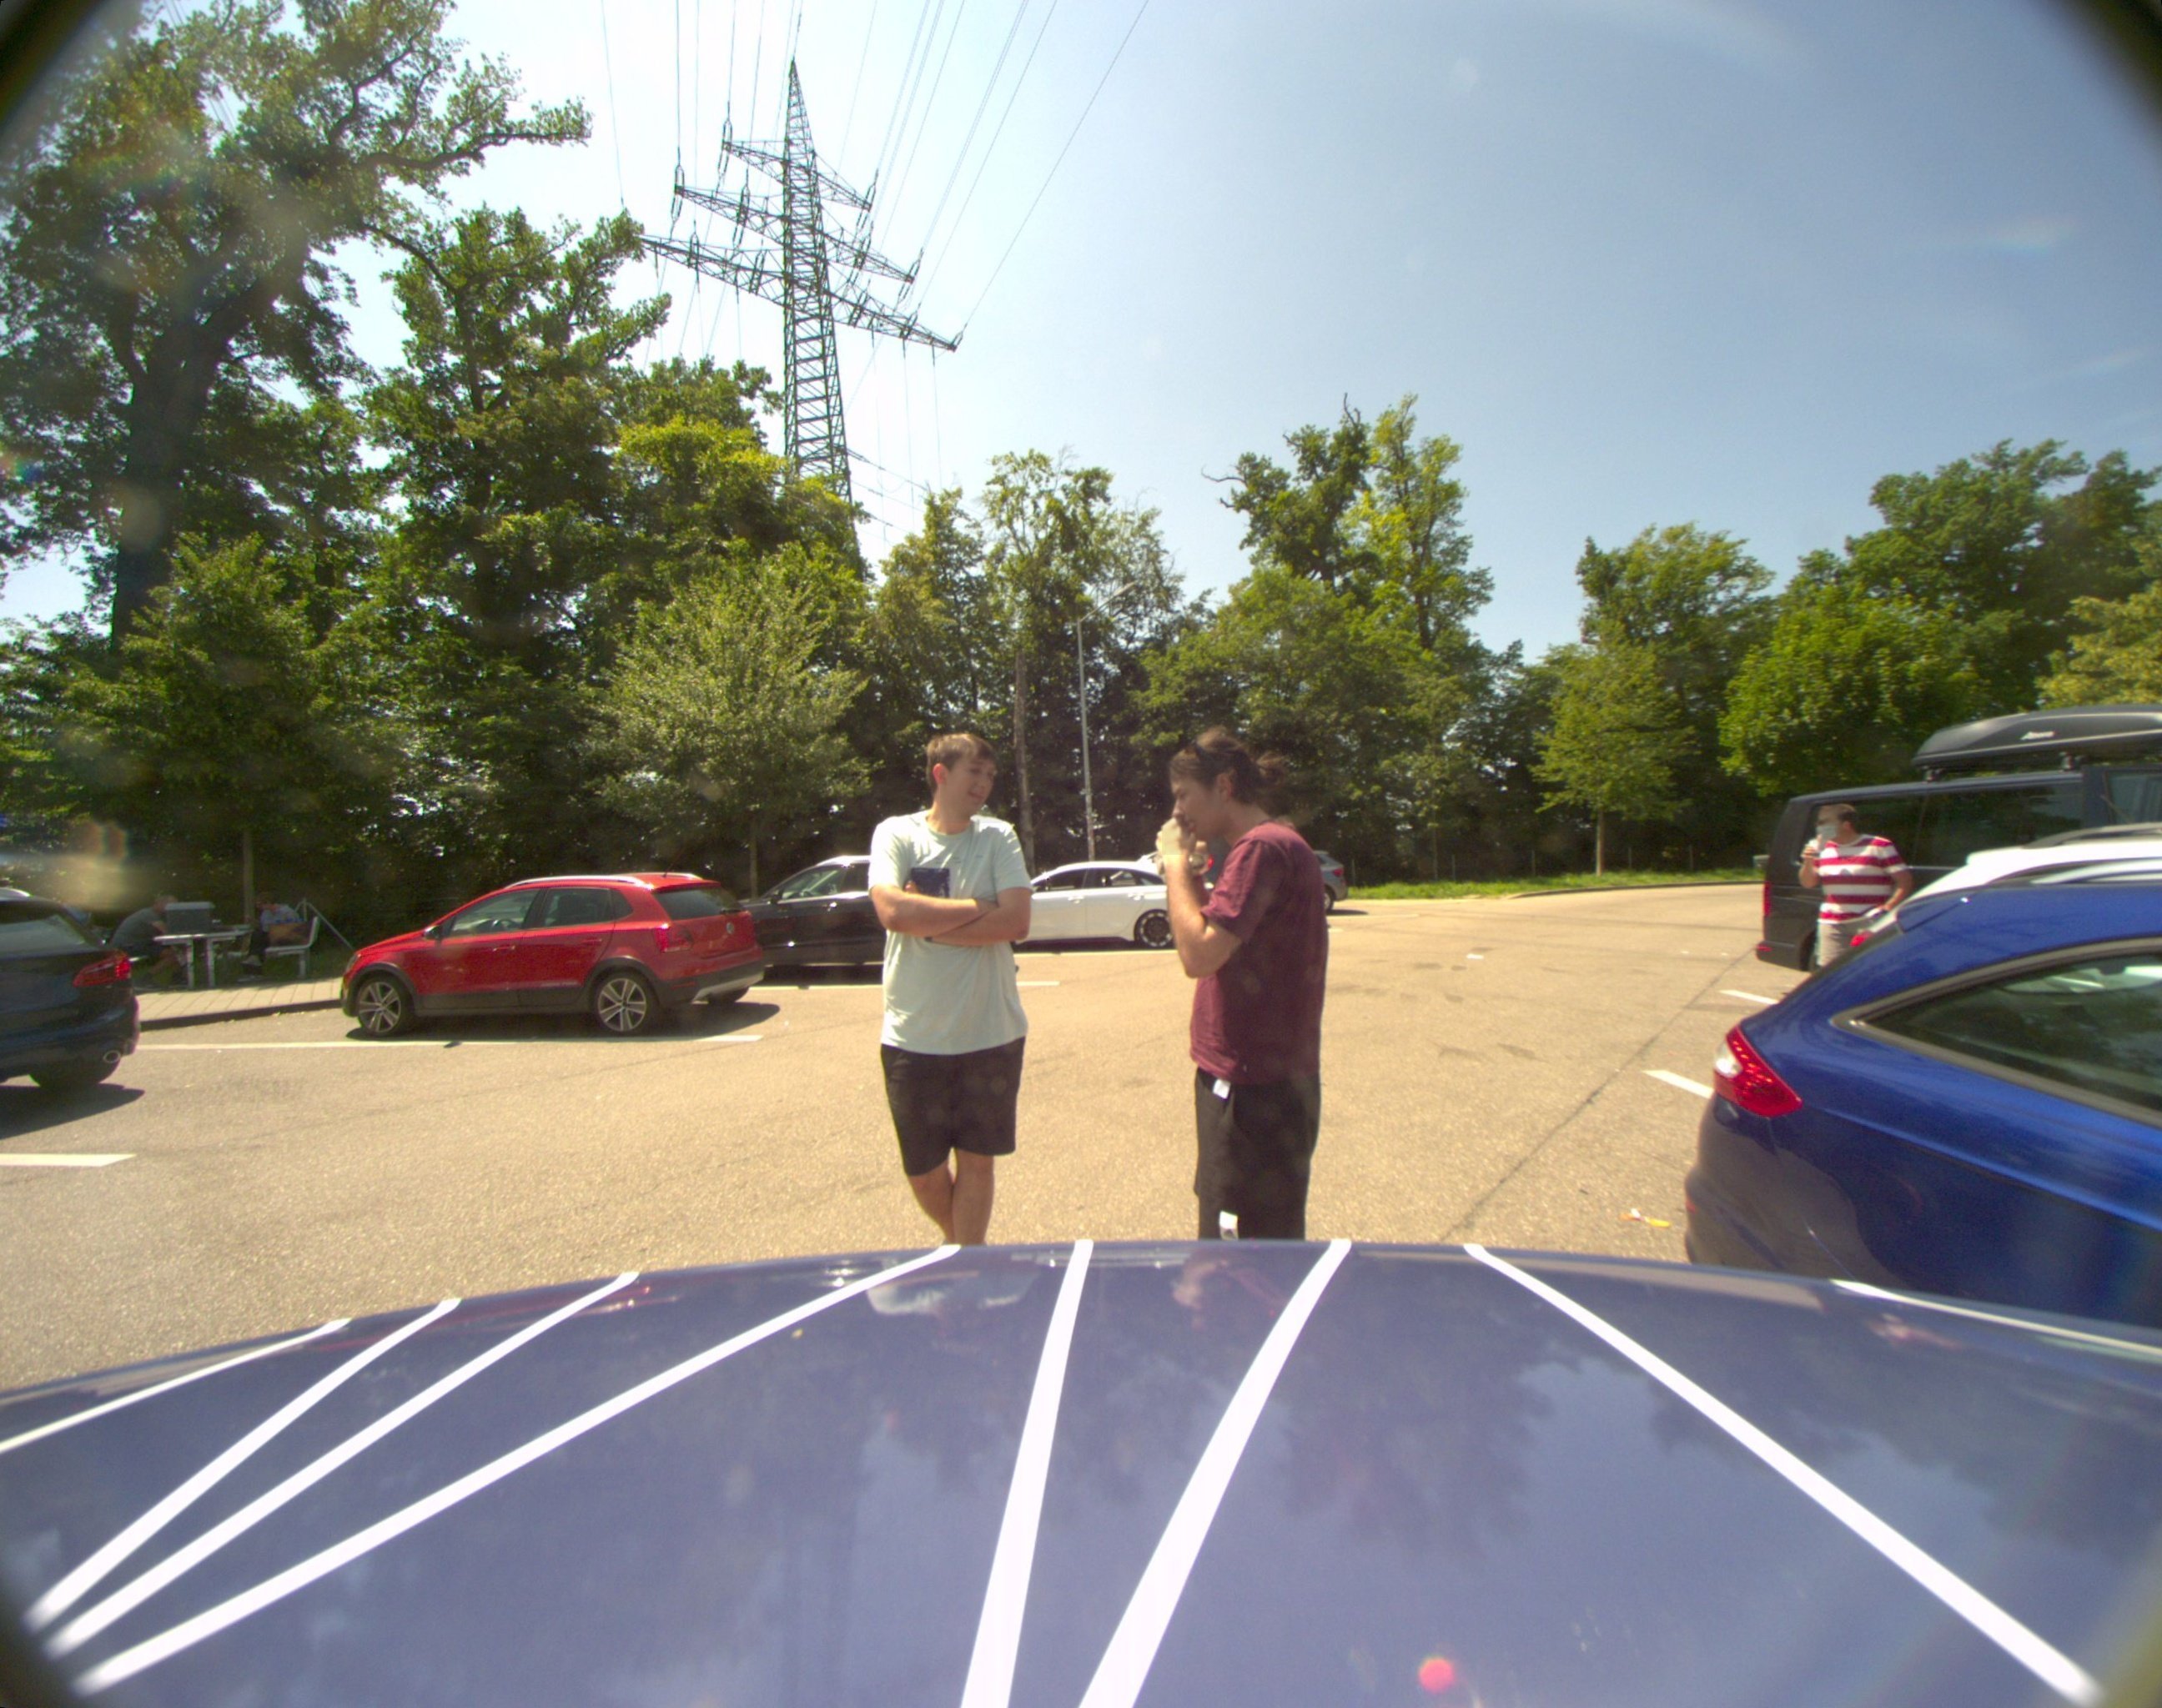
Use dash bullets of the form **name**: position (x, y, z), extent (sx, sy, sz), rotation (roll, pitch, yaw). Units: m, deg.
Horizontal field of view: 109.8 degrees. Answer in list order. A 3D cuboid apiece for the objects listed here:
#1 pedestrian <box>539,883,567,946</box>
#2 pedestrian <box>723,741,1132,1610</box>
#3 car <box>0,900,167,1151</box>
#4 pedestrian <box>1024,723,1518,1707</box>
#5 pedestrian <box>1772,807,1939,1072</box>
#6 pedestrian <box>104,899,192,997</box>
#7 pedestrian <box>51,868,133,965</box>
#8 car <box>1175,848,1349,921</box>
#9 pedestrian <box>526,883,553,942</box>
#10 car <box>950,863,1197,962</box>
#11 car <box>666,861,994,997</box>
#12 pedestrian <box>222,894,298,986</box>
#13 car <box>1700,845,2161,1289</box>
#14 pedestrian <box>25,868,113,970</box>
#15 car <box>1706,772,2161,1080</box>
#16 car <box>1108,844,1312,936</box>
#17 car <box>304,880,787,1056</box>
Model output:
- **pedestrian**: position (-10.165, 1.158, 14.633), extent (0.357, 1.158, 0.384), rotation (-3, 2, -41)
- **pedestrian**: position (-0.490, 0.713, 2.289), extent (0.815, 1.939, 0.918), rotation (-3, 1, -36)
- **car**: position (-9.032, 1.167, 5.013), extent (4.338, 1.544, 1.749), rotation (-1, 1, 8)
- **pedestrian**: position (0.468, 0.712, 1.939), extent (0.919, 1.894, 0.815), rotation (-2, 1, 16)
- **pedestrian**: position (5.627, 0.558, 5.522), extent (0.786, 1.744, 0.753), rotation (-3, 1, -39)
- **pedestrian**: position (-12.729, 1.264, 10.381), extent (0.595, 1.238, 0.446), rotation (-3, 1, -33)
- **pedestrian**: position (-17.097, 1.057, 13.154), extent (0.573, 1.596, 0.646), rotation (-3, 1, -26)
- **car**: position (4.265, 0.703, 18.162), extent (3.822, 1.551, 1.652), rotation (-2, 1, 12)
- **pedestrian**: position (-11.010, 1.181, 15.448), extent (0.357, 1.158, 0.384), rotation (-3, 2, -41)
- **car**: position (-0.076, 0.928, 12.684), extent (3.825, 1.394, 1.651), rotation (-2, 1, 4)
- **car**: position (-3.250, 0.957, 10.309), extent (3.825, 1.546, 1.651), rotation (-2, 1, 4)
- **pedestrian**: position (-11.862, 1.224, 10.995), extent (0.595, 1.238, 0.499), rotation (-3, 1, -33)
- **car**: position (4.646, 0.726, 2.262), extent (1.757, 1.496, 4.574), rotation (-3, -1, -1)
- **pedestrian**: position (-16.707, 1.049, 12.563), extent (0.573, 1.596, 0.646), rotation (-3, 1, -26)
- **car**: position (7.374, 0.412, 5.294), extent (1.758, 1.886, 4.571), rotation (-3, -1, -9)
- **car**: position (2.606, 0.706, 15.466), extent (3.822, 1.686, 1.652), rotation (-2, 1, 12)
- **car**: position (-5.232, 1.085, 7.680), extent (3.823, 1.460, 1.651), rotation (-2, 1, 8)
